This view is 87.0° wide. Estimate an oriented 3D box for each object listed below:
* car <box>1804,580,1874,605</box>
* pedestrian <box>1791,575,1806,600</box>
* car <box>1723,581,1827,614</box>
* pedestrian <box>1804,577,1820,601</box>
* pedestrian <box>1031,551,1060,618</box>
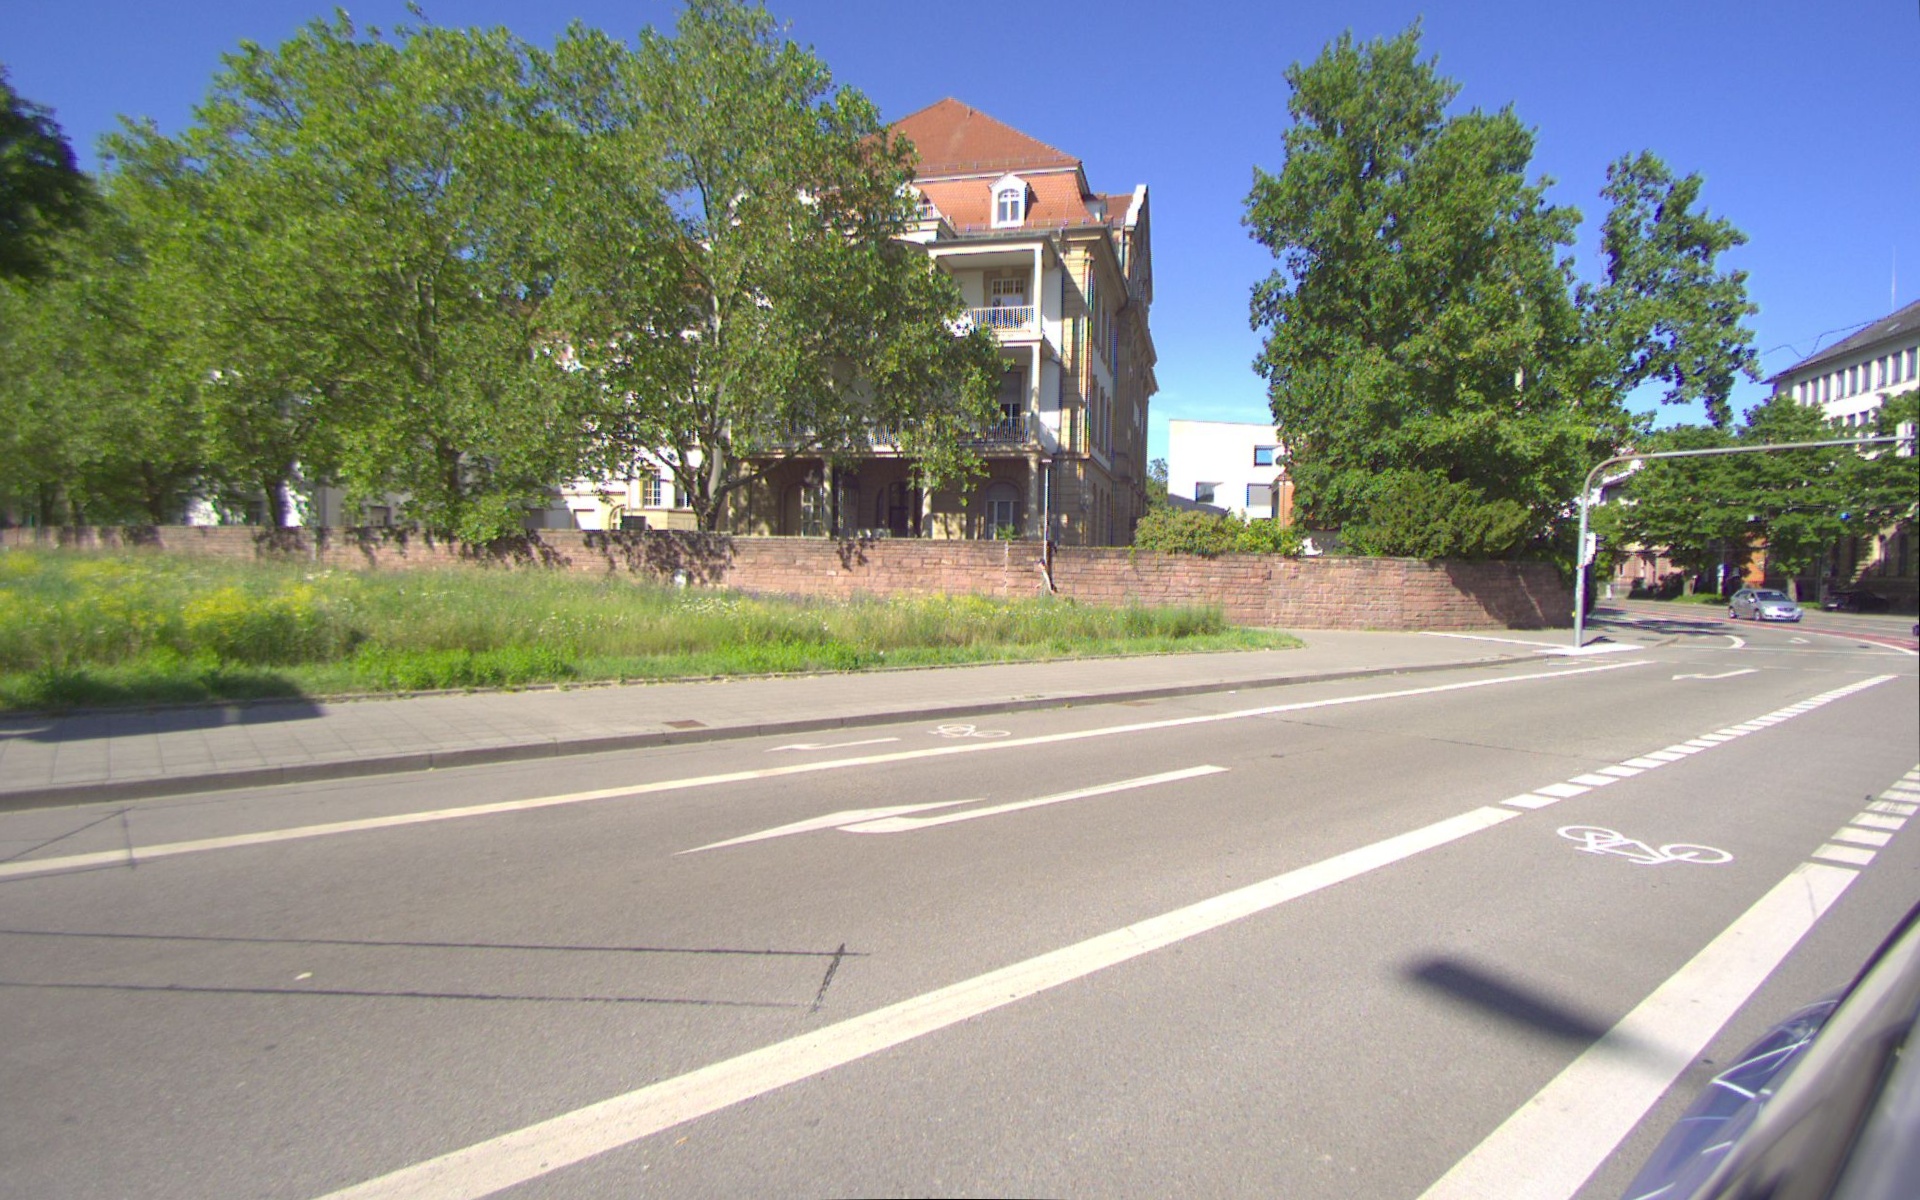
[{"bbox_3d":[60.037,-0.531,69.187,1.806,1.615,3.988,2,2,11],"label":"car"},{"bbox_3d":[66.436,-1.019,80.219,0.568,1.927,0.781,1,1,12],"label":"pedestrian"},{"bbox_3d":[41.297,-0.124,51.447,1.967,1.610,4.839,0,0,9],"label":"car"},{"bbox_3d":[67.393,-0.883,80.037,0.568,1.927,0.849,1,1,12],"label":"pedestrian"},{"bbox_3d":[2.445,-0.447,28.812,0.773,1.881,0.630,1,1,6],"label":"pedestrian"}]
